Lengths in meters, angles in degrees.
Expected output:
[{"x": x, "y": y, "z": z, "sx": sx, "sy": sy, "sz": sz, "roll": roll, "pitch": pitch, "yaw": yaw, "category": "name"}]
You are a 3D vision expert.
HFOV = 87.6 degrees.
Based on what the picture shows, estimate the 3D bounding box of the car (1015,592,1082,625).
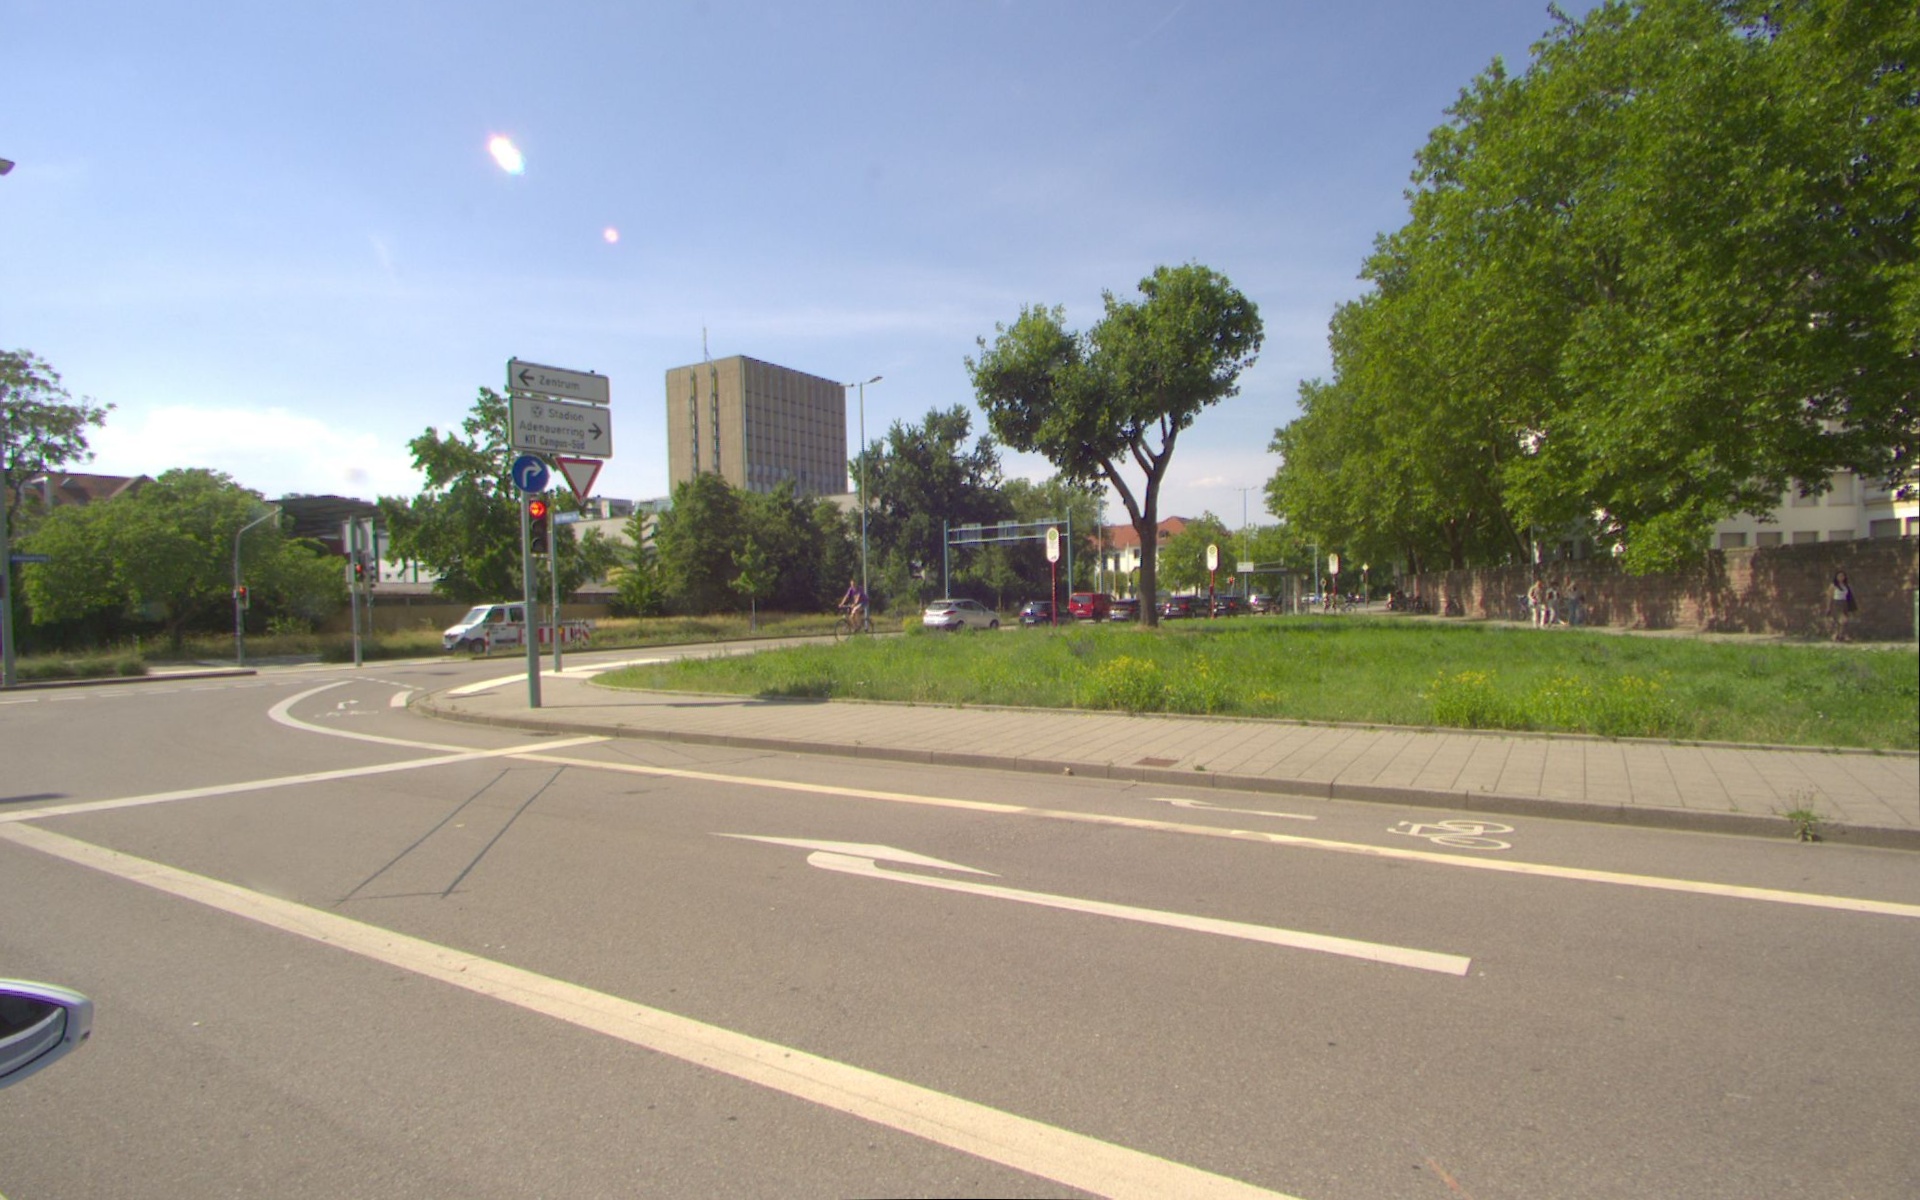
[{"x": 4.680, "y": 0.422, "z": 52.573, "sx": 1.565, "sy": 1.612, "sz": 3.968, "roll": -1, "pitch": 1, "yaw": 39, "category": "car"}]

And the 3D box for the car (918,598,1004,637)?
[{"x": 0.086, "y": 0.779, "z": 46.533, "sx": 1.691, "sy": 1.640, "sz": 4.183, "roll": -1, "pitch": 1, "yaw": 40, "category": "car"}]

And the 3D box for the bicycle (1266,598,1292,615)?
[{"x": 24.875, "y": 0.533, "z": 77.960, "sx": 0.838, "sy": 1.233, "sz": 3.462, "roll": -1, "pitch": -2, "yaw": 37, "category": "bicycle"}]

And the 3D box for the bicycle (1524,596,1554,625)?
[{"x": 22.077, "y": 0.398, "z": 38.222, "sx": 0.439, "sy": 1.047, "sz": 1.447, "roll": -1, "pitch": 1, "yaw": 6, "category": "bicycle"}]

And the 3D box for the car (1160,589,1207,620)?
[{"x": 15.189, "y": 0.294, "z": 67.911, "sx": 1.970, "sy": 2.041, "sz": 3.980, "roll": -1, "pitch": 1, "yaw": 30, "category": "car"}]

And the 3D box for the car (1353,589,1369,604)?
[{"x": 58.716, "y": -0.515, "z": 146.618, "sx": 1.968, "sy": 2.039, "sz": 3.987, "roll": -1, "pitch": -2, "yaw": 26, "category": "car"}]

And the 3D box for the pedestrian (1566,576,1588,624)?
[{"x": 21.170, "y": 0.005, "z": 34.377, "sx": 0.515, "sy": 1.599, "sz": 0.701, "roll": -1, "pitch": 1, "yaw": 23, "category": "pedestrian"}]

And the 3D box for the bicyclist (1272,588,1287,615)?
[{"x": 24.888, "y": 0.116, "z": 77.998, "sx": 0.769, "sy": 2.039, "sz": 1.265, "roll": -1, "pitch": -2, "yaw": 38, "category": "bicyclist"}]

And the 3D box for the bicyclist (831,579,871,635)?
[{"x": -3.251, "y": 0.219, "z": 29.919, "sx": 1.068, "sy": 1.659, "sz": 0.486, "roll": -1, "pitch": 1, "yaw": 30, "category": "bicyclist"}]

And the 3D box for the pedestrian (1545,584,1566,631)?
[{"x": 20.583, "y": 0.271, "z": 34.618, "sx": 0.515, "sy": 1.599, "sz": 0.701, "roll": -1, "pitch": 1, "yaw": 23, "category": "pedestrian"}]

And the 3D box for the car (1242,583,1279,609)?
[{"x": 24.657, "y": -0.378, "z": 82.110, "sx": 1.970, "sy": 2.041, "sz": 3.980, "roll": -1, "pitch": 1, "yaw": 30, "category": "car"}]

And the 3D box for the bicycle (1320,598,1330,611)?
[{"x": 32.363, "y": 0.391, "z": 88.806, "sx": 0.552, "sy": 1.066, "sz": 1.318, "roll": -1, "pitch": 1, "yaw": 30, "category": "bicycle"}]

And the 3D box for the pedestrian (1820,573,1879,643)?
[{"x": 20.409, "y": 0.173, "z": 22.991, "sx": 0.493, "sy": 1.569, "sz": 0.913, "roll": -1, "pitch": 1, "yaw": -4, "category": "pedestrian"}]

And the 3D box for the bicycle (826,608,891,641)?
[{"x": -3.031, "y": 0.722, "z": 29.990, "sx": 1.912, "sy": 0.899, "sz": 0.679, "roll": -2, "pitch": 1, "yaw": -42, "category": "bicycle"}]

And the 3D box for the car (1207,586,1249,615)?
[{"x": 20.024, "y": 0.011, "z": 74.721, "sx": 1.970, "sy": 2.041, "sz": 3.980, "roll": -1, "pitch": 1, "yaw": 30, "category": "car"}]

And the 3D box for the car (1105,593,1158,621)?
[{"x": 10.589, "y": 0.424, "z": 61.536, "sx": 1.564, "sy": 1.612, "sz": 3.972, "roll": -1, "pitch": 1, "yaw": 37, "category": "car"}]

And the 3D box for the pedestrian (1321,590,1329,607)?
[{"x": 32.321, "y": -0.139, "z": 88.749, "sx": 0.552, "sy": 1.458, "sz": 0.729, "roll": -1, "pitch": 1, "yaw": 30, "category": "pedestrian"}]

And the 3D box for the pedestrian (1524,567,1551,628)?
[{"x": 19.410, "y": -0.086, "z": 33.658, "sx": 0.513, "sy": 2.040, "sz": 0.596, "roll": -2, "pitch": 1, "yaw": -9, "category": "pedestrian"}]

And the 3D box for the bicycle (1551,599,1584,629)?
[{"x": 21.907, "y": 0.506, "z": 36.125, "sx": 0.439, "sy": 1.047, "sz": 1.447, "roll": -1, "pitch": 1, "yaw": 6, "category": "bicycle"}]

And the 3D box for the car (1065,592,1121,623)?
[{"x": 8.605, "y": 0.451, "z": 64.439, "sx": 1.950, "sy": 1.821, "sz": 4.587, "roll": -1, "pitch": 1, "yaw": 31, "category": "car"}]

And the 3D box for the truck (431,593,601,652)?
[{"x": -20.373, "y": 0.967, "z": 46.387, "sx": 2.380, "sy": 2.386, "sz": 7.007, "roll": -3, "pitch": 0, "yaw": 33, "category": "truck"}]
